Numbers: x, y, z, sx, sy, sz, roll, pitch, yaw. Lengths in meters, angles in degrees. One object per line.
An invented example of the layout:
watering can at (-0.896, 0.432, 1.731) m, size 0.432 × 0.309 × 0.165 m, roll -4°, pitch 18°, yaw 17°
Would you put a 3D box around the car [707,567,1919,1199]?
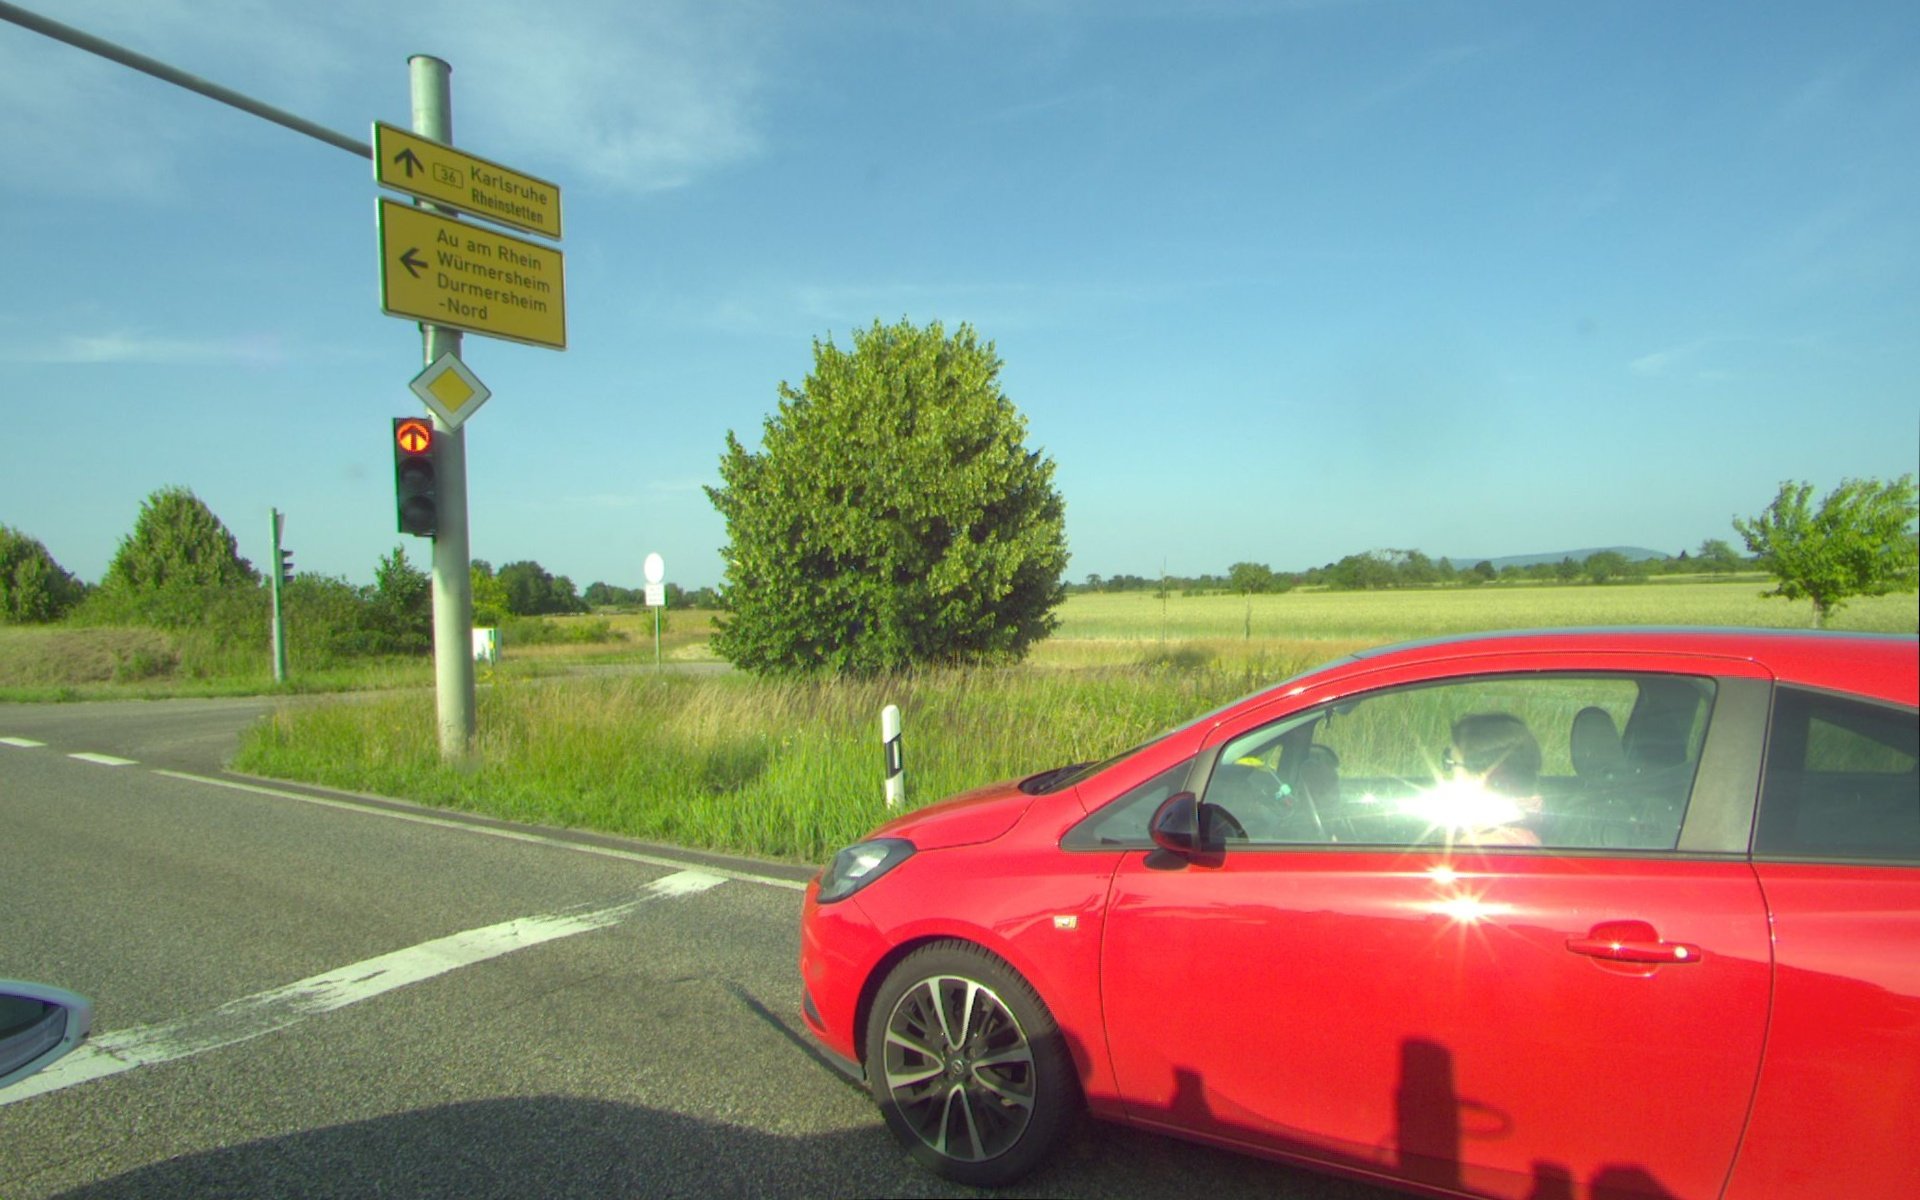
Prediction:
car at (1.259, 0.748, 2.868) m, size 3.693 × 1.569 × 1.695 m, roll -1°, pitch 0°, yaw 29°
